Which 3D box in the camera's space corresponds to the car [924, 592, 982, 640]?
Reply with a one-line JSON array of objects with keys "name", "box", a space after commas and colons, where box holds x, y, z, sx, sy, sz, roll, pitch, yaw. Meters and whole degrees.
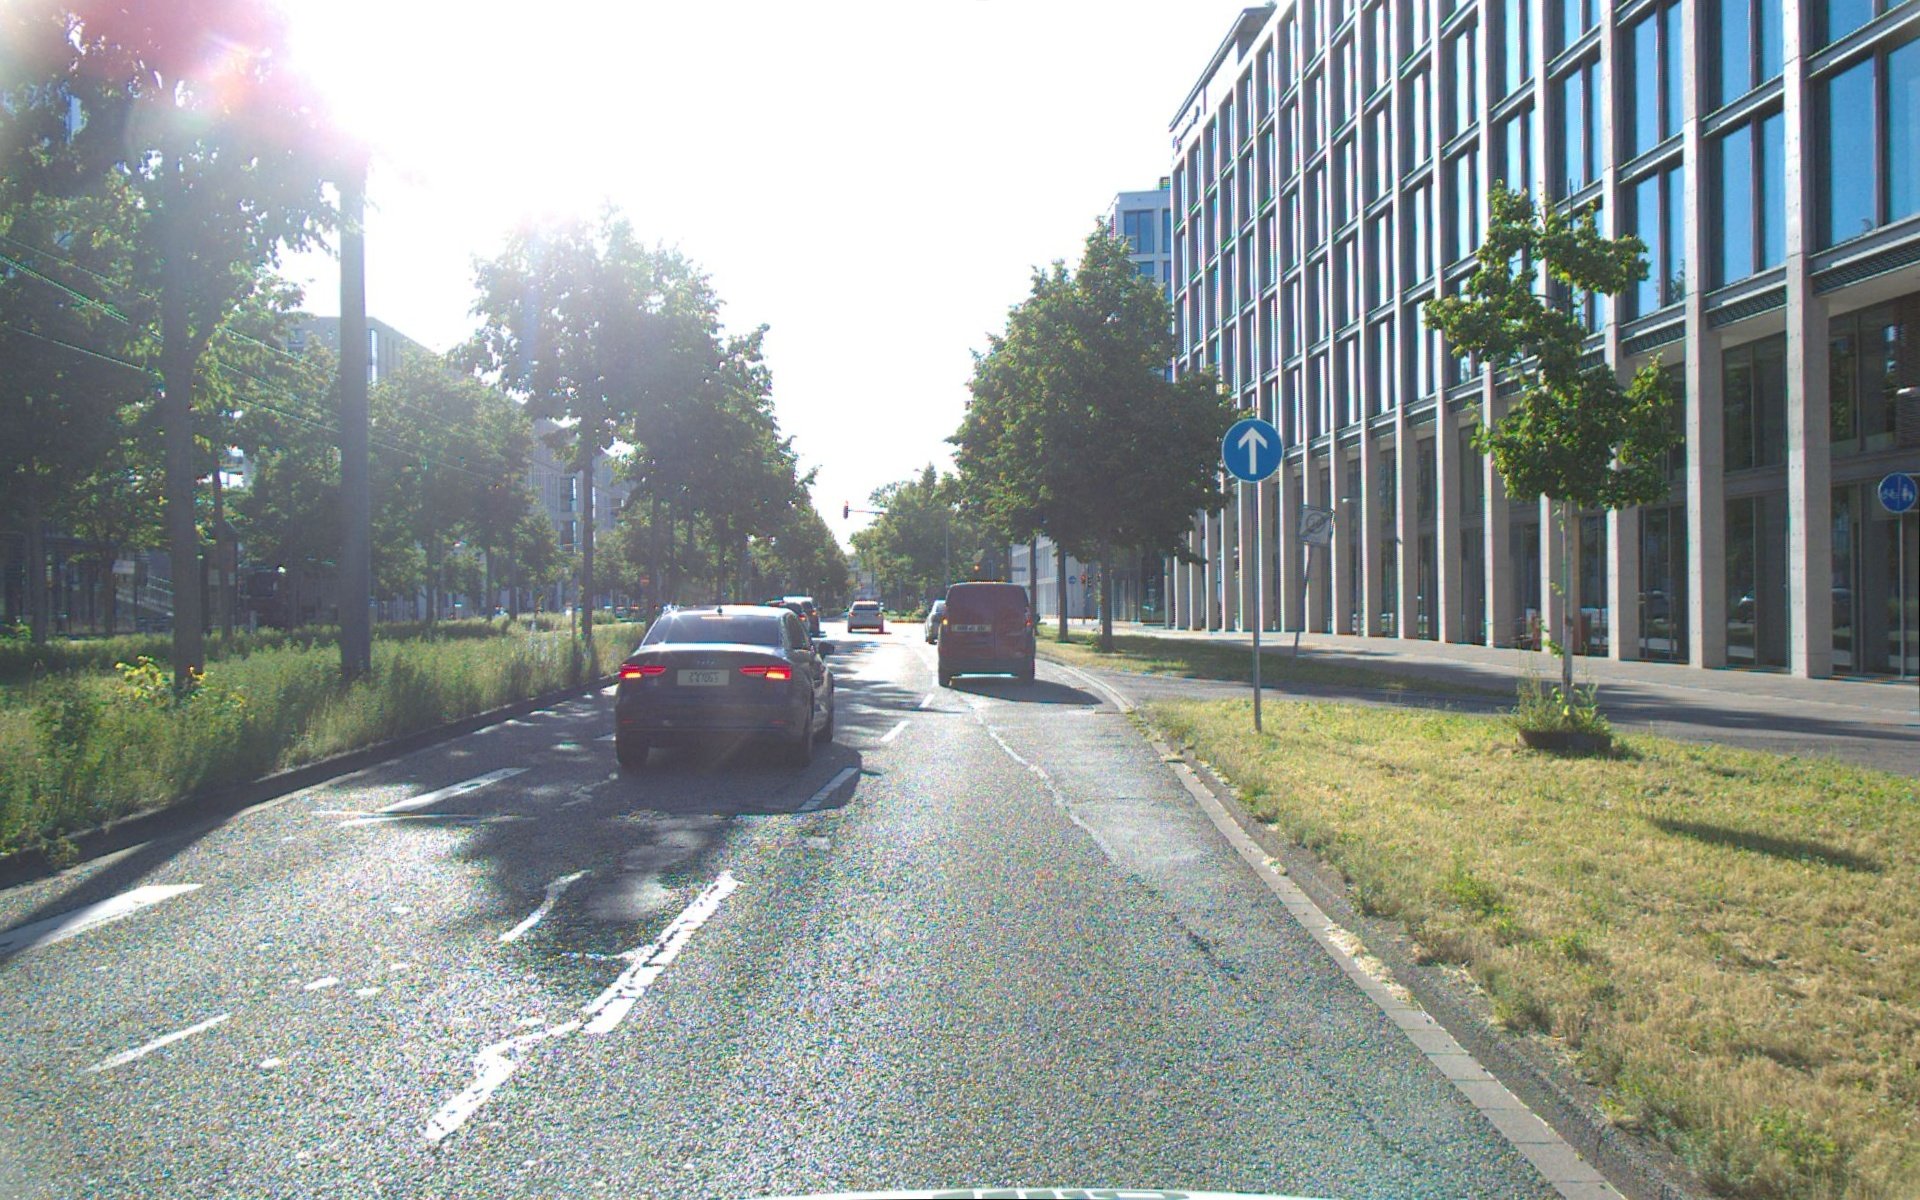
[{"name": "car", "box": [-0.285, 0.526, 57.293, 1.687, 1.450, 3.814, 1, 2, -5]}]

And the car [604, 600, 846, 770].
[{"name": "car", "box": [-2.093, 0.709, 15.794, 1.685, 1.390, 4.146, 0, 0, 0]}]

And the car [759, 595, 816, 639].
[{"name": "car", "box": [-5.964, 0.550, 57.474, 1.904, 1.466, 3.996, 0, 0, -5]}]

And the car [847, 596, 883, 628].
[{"name": "car", "box": [-4.477, 0.552, 77.887, 1.687, 1.450, 3.814, 0, 0, -4]}]

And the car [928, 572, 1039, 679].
[{"name": "car", "box": [0.376, 0.409, 30.624, 1.762, 1.808, 3.998, 1, 1, -3]}]

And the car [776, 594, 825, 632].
[{"name": "car", "box": [-6.768, 0.533, 70.384, 1.805, 1.561, 3.938, 0, 0, -2]}]
